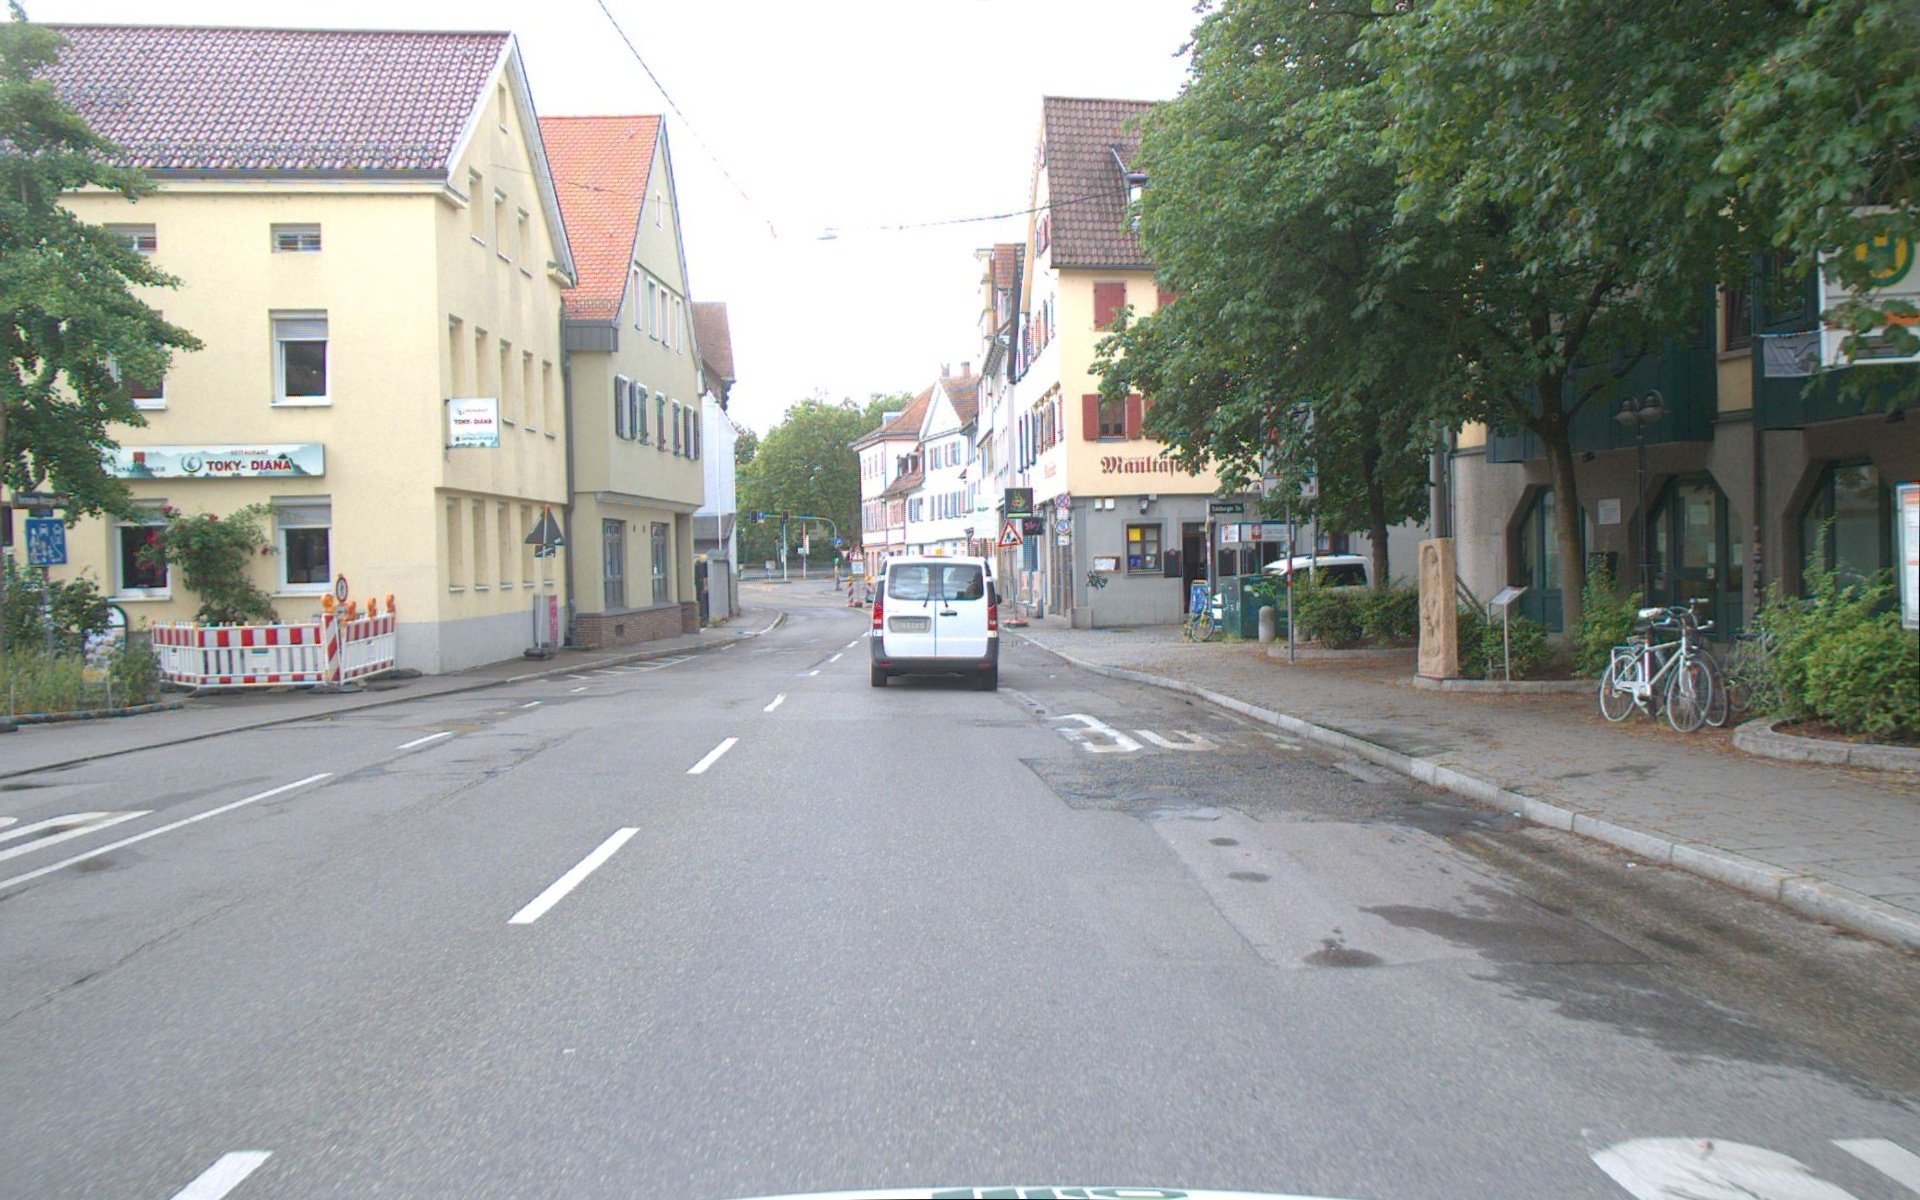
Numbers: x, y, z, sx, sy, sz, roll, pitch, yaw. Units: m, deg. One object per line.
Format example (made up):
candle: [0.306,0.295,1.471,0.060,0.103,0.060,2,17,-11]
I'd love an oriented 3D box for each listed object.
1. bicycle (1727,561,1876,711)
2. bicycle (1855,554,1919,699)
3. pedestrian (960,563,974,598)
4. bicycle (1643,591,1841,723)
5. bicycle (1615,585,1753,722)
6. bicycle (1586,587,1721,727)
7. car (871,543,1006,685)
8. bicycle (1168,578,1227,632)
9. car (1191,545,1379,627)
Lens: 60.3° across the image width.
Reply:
bicycle: [7.883,0.305,15.579,0.326,1.323,1.958,0,1,-3]
bicycle: [8.879,0.240,15.050,0.326,1.323,1.958,0,1,-3]
pedestrian: [0.347,-0.999,85.127,0.630,1.777,0.562,-1,1,-6]
bicycle: [7.218,0.483,15.401,0.534,1.088,2.288,-2,1,-6]
bicycle: [6.575,0.448,15.115,0.326,1.161,1.958,0,1,-3]
bicycle: [6.248,0.475,14.996,0.326,1.160,1.958,0,1,-3]
car: [-0.312,0.144,25.013,1.834,1.945,4.000,-1,1,0]
bicycle: [5.121,0.104,35.699,0.492,1.125,1.627,-2,1,-21]
car: [7.980,-0.376,40.739,4.163,1.828,1.845,-2,3,-9]
